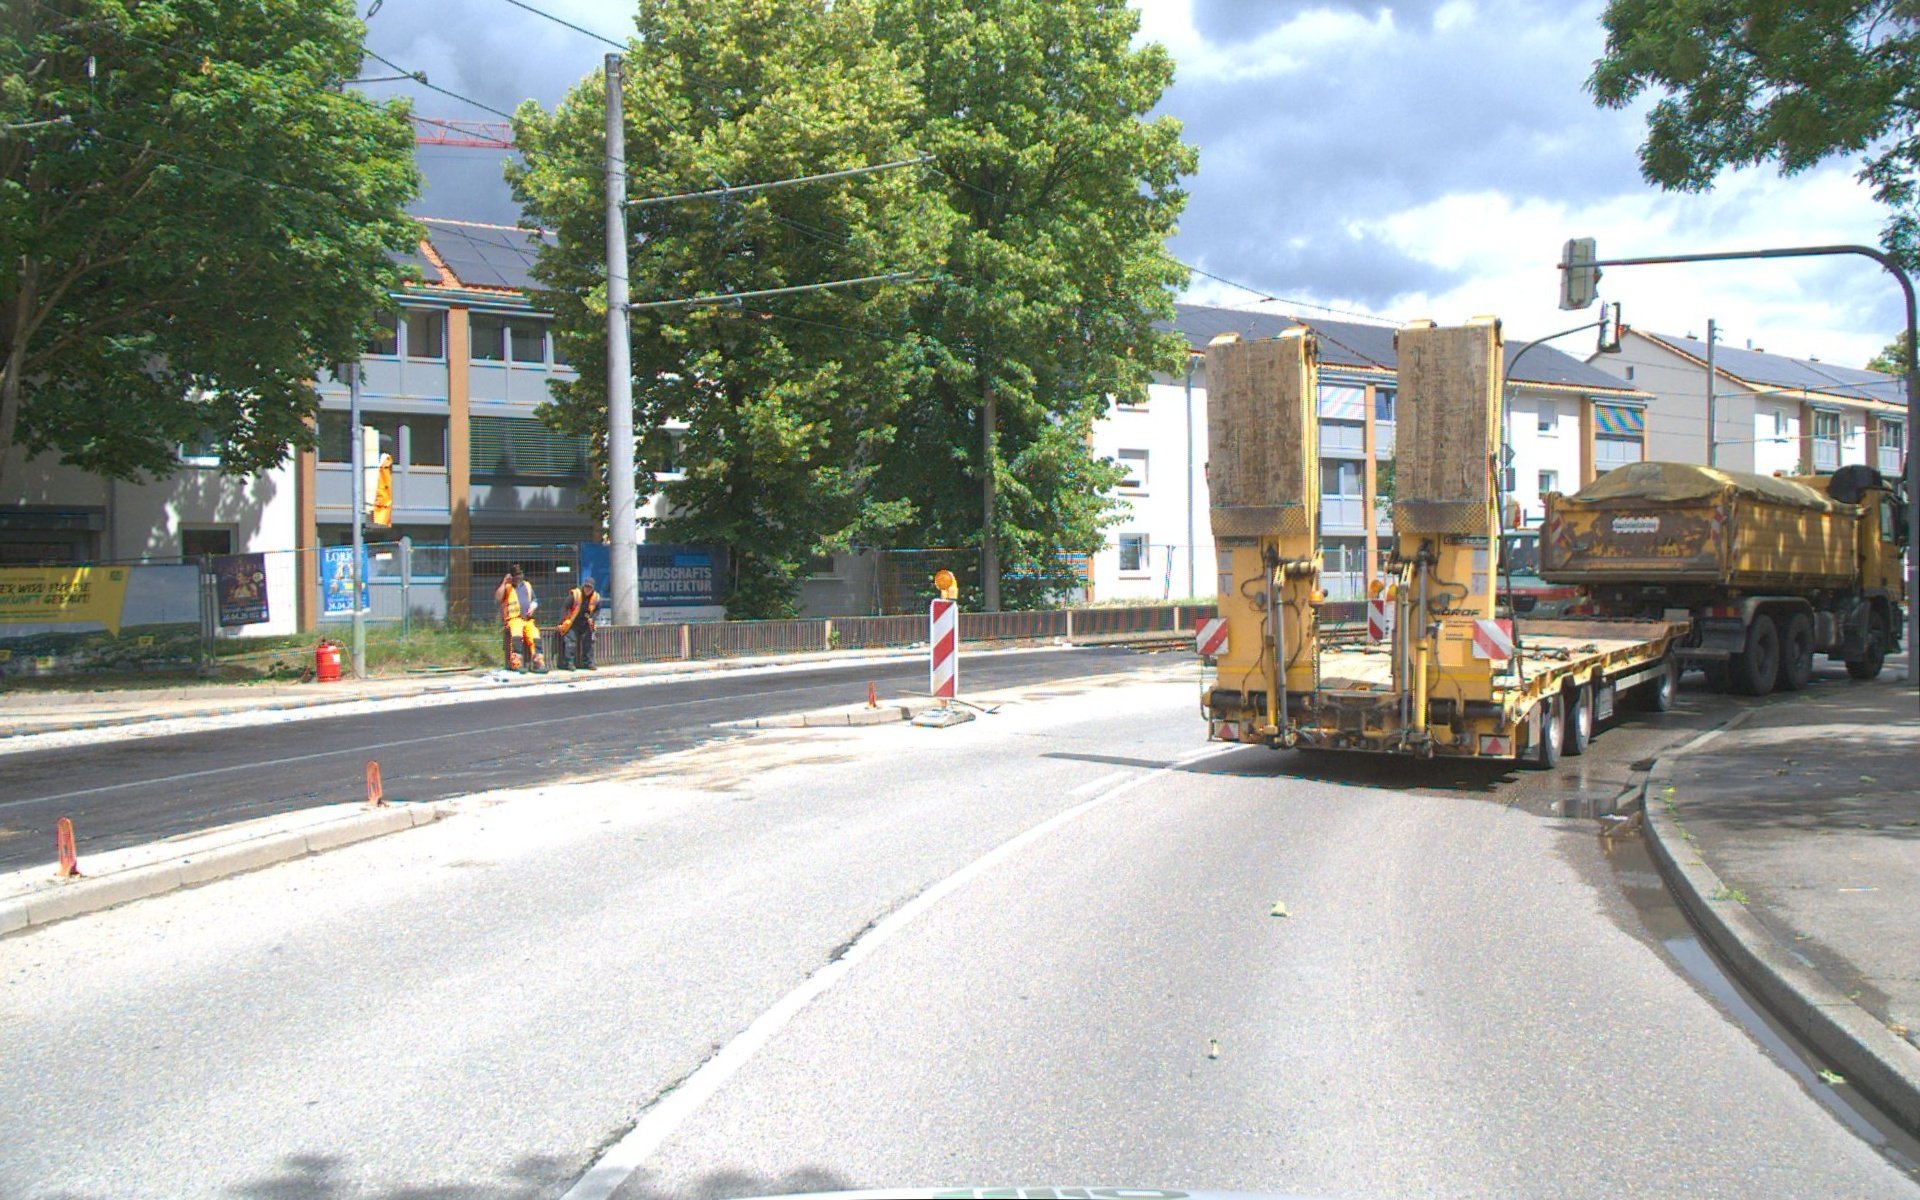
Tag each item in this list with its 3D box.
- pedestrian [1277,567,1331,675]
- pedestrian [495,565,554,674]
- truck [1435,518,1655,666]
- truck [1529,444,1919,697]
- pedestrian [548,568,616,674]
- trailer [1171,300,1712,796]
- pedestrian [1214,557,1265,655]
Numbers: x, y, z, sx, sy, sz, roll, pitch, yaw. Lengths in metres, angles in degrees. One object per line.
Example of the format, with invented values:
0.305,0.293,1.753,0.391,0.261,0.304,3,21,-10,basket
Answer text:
5.187,0.304,25.005,0.746,1.578,0.902,0,2,8,pedestrian
-6.445,0.281,24.463,0.749,1.568,0.794,-1,0,-20,pedestrian
12.223,-0.249,34.242,2.617,2.772,6.372,1,2,36,truck
11.651,-0.499,24.755,7.624,3.222,2.879,-2,3,-45,truck
-5.737,0.313,25.063,0.891,1.559,0.836,-1,0,-20,pedestrian
5.729,-0.455,17.423,2.771,3.585,11.028,2,1,30,trailer
4.946,0.106,29.275,0.690,1.697,0.827,0,0,26,pedestrian
